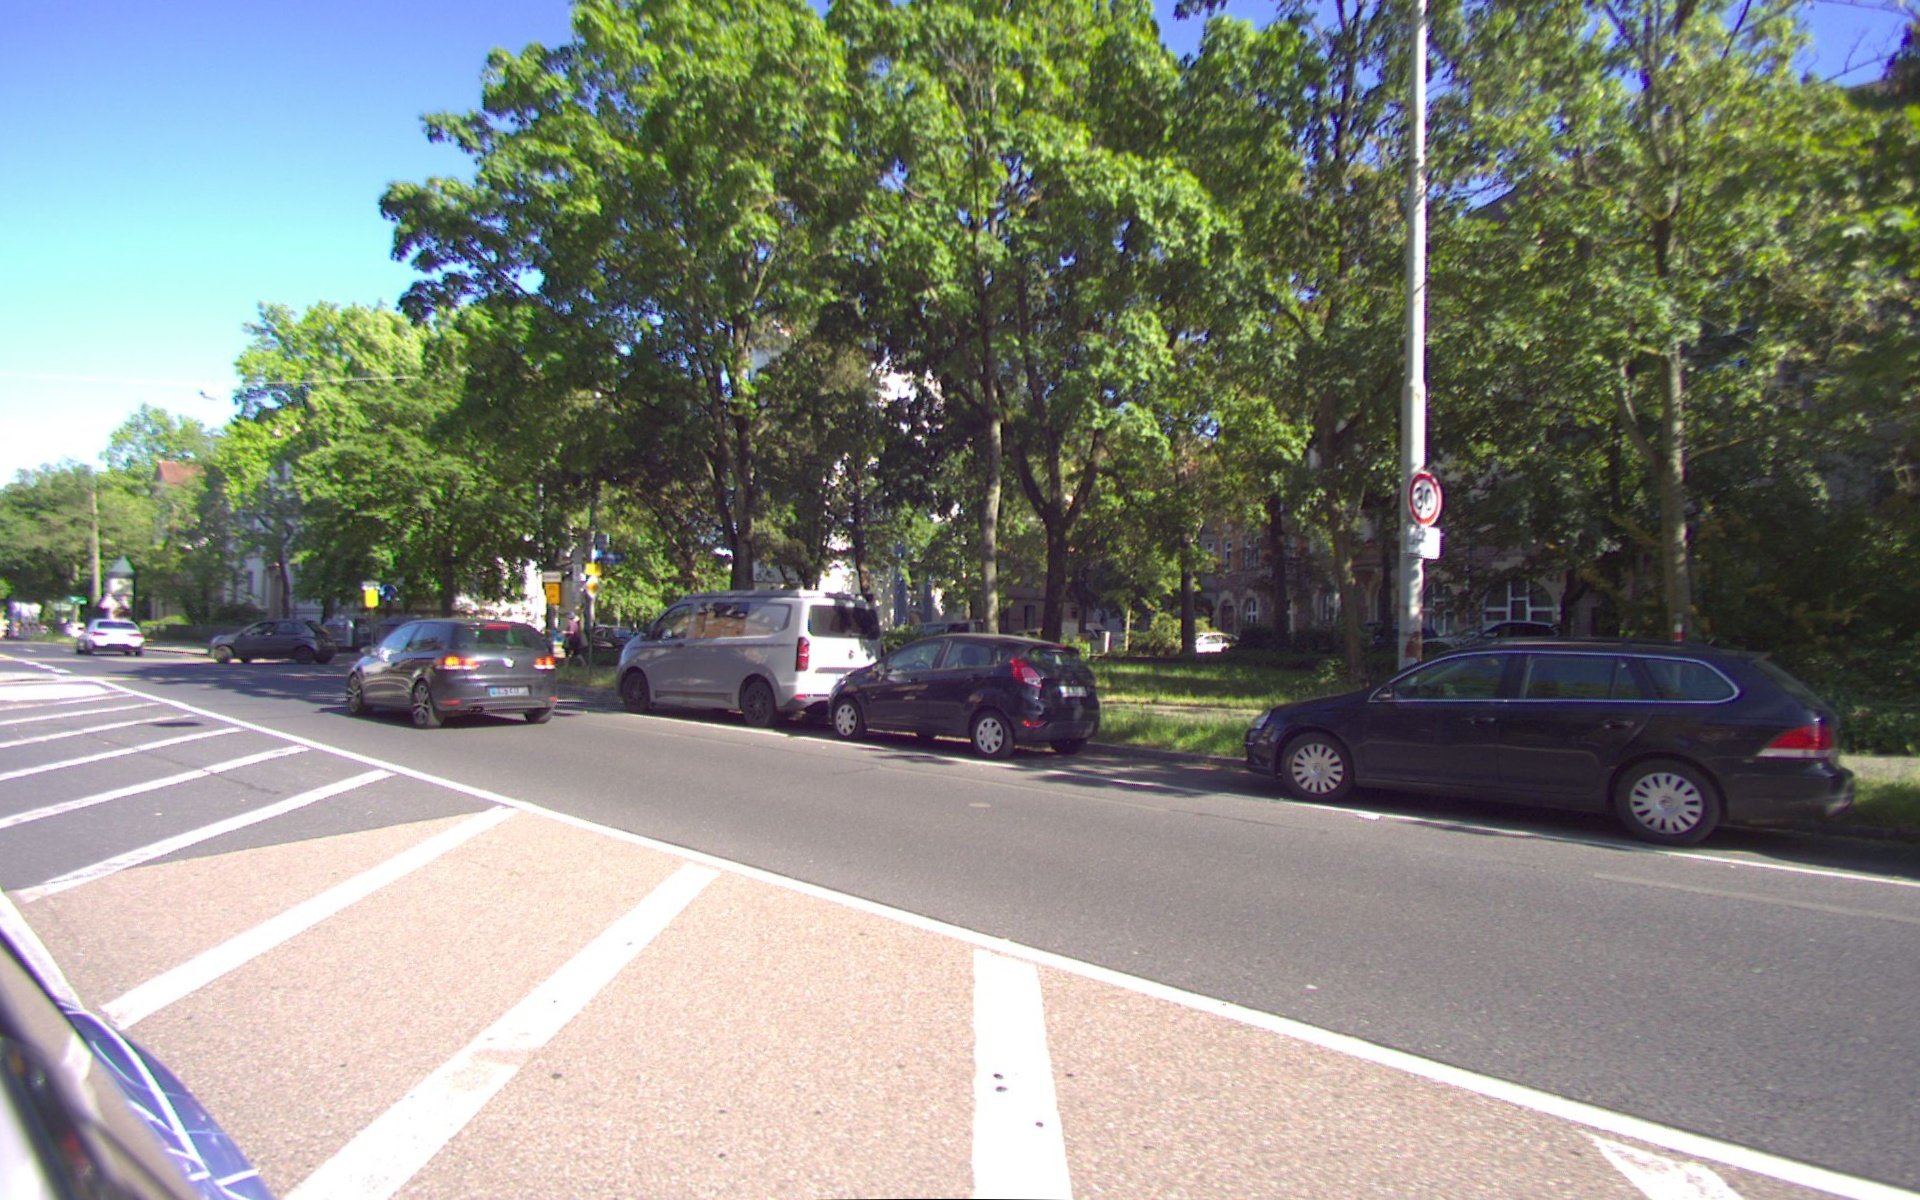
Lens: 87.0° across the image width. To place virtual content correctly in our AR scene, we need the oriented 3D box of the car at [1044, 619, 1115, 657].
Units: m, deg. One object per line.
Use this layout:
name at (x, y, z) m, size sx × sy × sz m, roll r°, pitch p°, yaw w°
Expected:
car at (8.654, 2.731, 73.689) m, size 4.916 × 2.643 × 1.868 m, roll -1°, pitch -3°, yaw 42°

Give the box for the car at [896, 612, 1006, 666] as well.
car at (-0.446, 1.709, 44.813) m, size 4.917 × 2.263 × 1.868 m, roll -1°, pitch -3°, yaw 43°

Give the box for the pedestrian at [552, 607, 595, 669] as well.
pedestrian at (-11.295, 1.090, 29.559) m, size 0.817 × 1.768 × 0.863 m, roll -1°, pitch -1°, yaw 31°

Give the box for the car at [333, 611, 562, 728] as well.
car at (-7.504, 0.916, 14.643) m, size 4.132 × 1.461 × 1.575 m, roll -1°, pitch -2°, yaw 42°

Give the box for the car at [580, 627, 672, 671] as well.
car at (-14.905, 2.139, 45.018) m, size 4.700 × 1.701 × 1.867 m, roll 1°, pitch -1°, yaw 43°

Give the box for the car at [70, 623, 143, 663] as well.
car at (-34.206, 1.695, 40.530) m, size 4.715 × 1.505 × 1.784 m, roll -1°, pitch -2°, yaw 44°

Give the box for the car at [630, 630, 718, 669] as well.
car at (-13.357, 2.254, 47.057) m, size 1.867 × 1.701 × 4.702 m, roll 3°, pitch -3°, yaw -45°

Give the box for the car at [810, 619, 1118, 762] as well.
car at (-0.065, 1.041, 12.886) m, size 3.958 × 1.513 × 1.448 m, roll 0°, pitch -3°, yaw 42°

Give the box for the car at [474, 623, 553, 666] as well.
car at (-18.645, 1.818, 42.164) m, size 1.864 × 1.701 × 4.709 m, roll 3°, pitch -3°, yaw -38°

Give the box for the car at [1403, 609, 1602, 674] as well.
car at (13.652, 1.067, 25.617) m, size 4.124 × 1.439 × 1.594 m, roll 2°, pitch -4°, yaw 2°

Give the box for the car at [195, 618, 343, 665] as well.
car at (-23.423, 1.417, 34.463) m, size 3.717 × 1.502 × 1.849 m, roll 1°, pitch -2°, yaw -15°

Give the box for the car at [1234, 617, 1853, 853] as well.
car at (4.683, 0.941, 8.601) m, size 4.267 × 1.493 × 1.574 m, roll 0°, pitch -3°, yaw 39°

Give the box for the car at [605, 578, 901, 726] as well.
car at (-3.435, 0.808, 16.310) m, size 4.869 × 2.052 × 1.964 m, roll -1°, pitch -4°, yaw 38°
